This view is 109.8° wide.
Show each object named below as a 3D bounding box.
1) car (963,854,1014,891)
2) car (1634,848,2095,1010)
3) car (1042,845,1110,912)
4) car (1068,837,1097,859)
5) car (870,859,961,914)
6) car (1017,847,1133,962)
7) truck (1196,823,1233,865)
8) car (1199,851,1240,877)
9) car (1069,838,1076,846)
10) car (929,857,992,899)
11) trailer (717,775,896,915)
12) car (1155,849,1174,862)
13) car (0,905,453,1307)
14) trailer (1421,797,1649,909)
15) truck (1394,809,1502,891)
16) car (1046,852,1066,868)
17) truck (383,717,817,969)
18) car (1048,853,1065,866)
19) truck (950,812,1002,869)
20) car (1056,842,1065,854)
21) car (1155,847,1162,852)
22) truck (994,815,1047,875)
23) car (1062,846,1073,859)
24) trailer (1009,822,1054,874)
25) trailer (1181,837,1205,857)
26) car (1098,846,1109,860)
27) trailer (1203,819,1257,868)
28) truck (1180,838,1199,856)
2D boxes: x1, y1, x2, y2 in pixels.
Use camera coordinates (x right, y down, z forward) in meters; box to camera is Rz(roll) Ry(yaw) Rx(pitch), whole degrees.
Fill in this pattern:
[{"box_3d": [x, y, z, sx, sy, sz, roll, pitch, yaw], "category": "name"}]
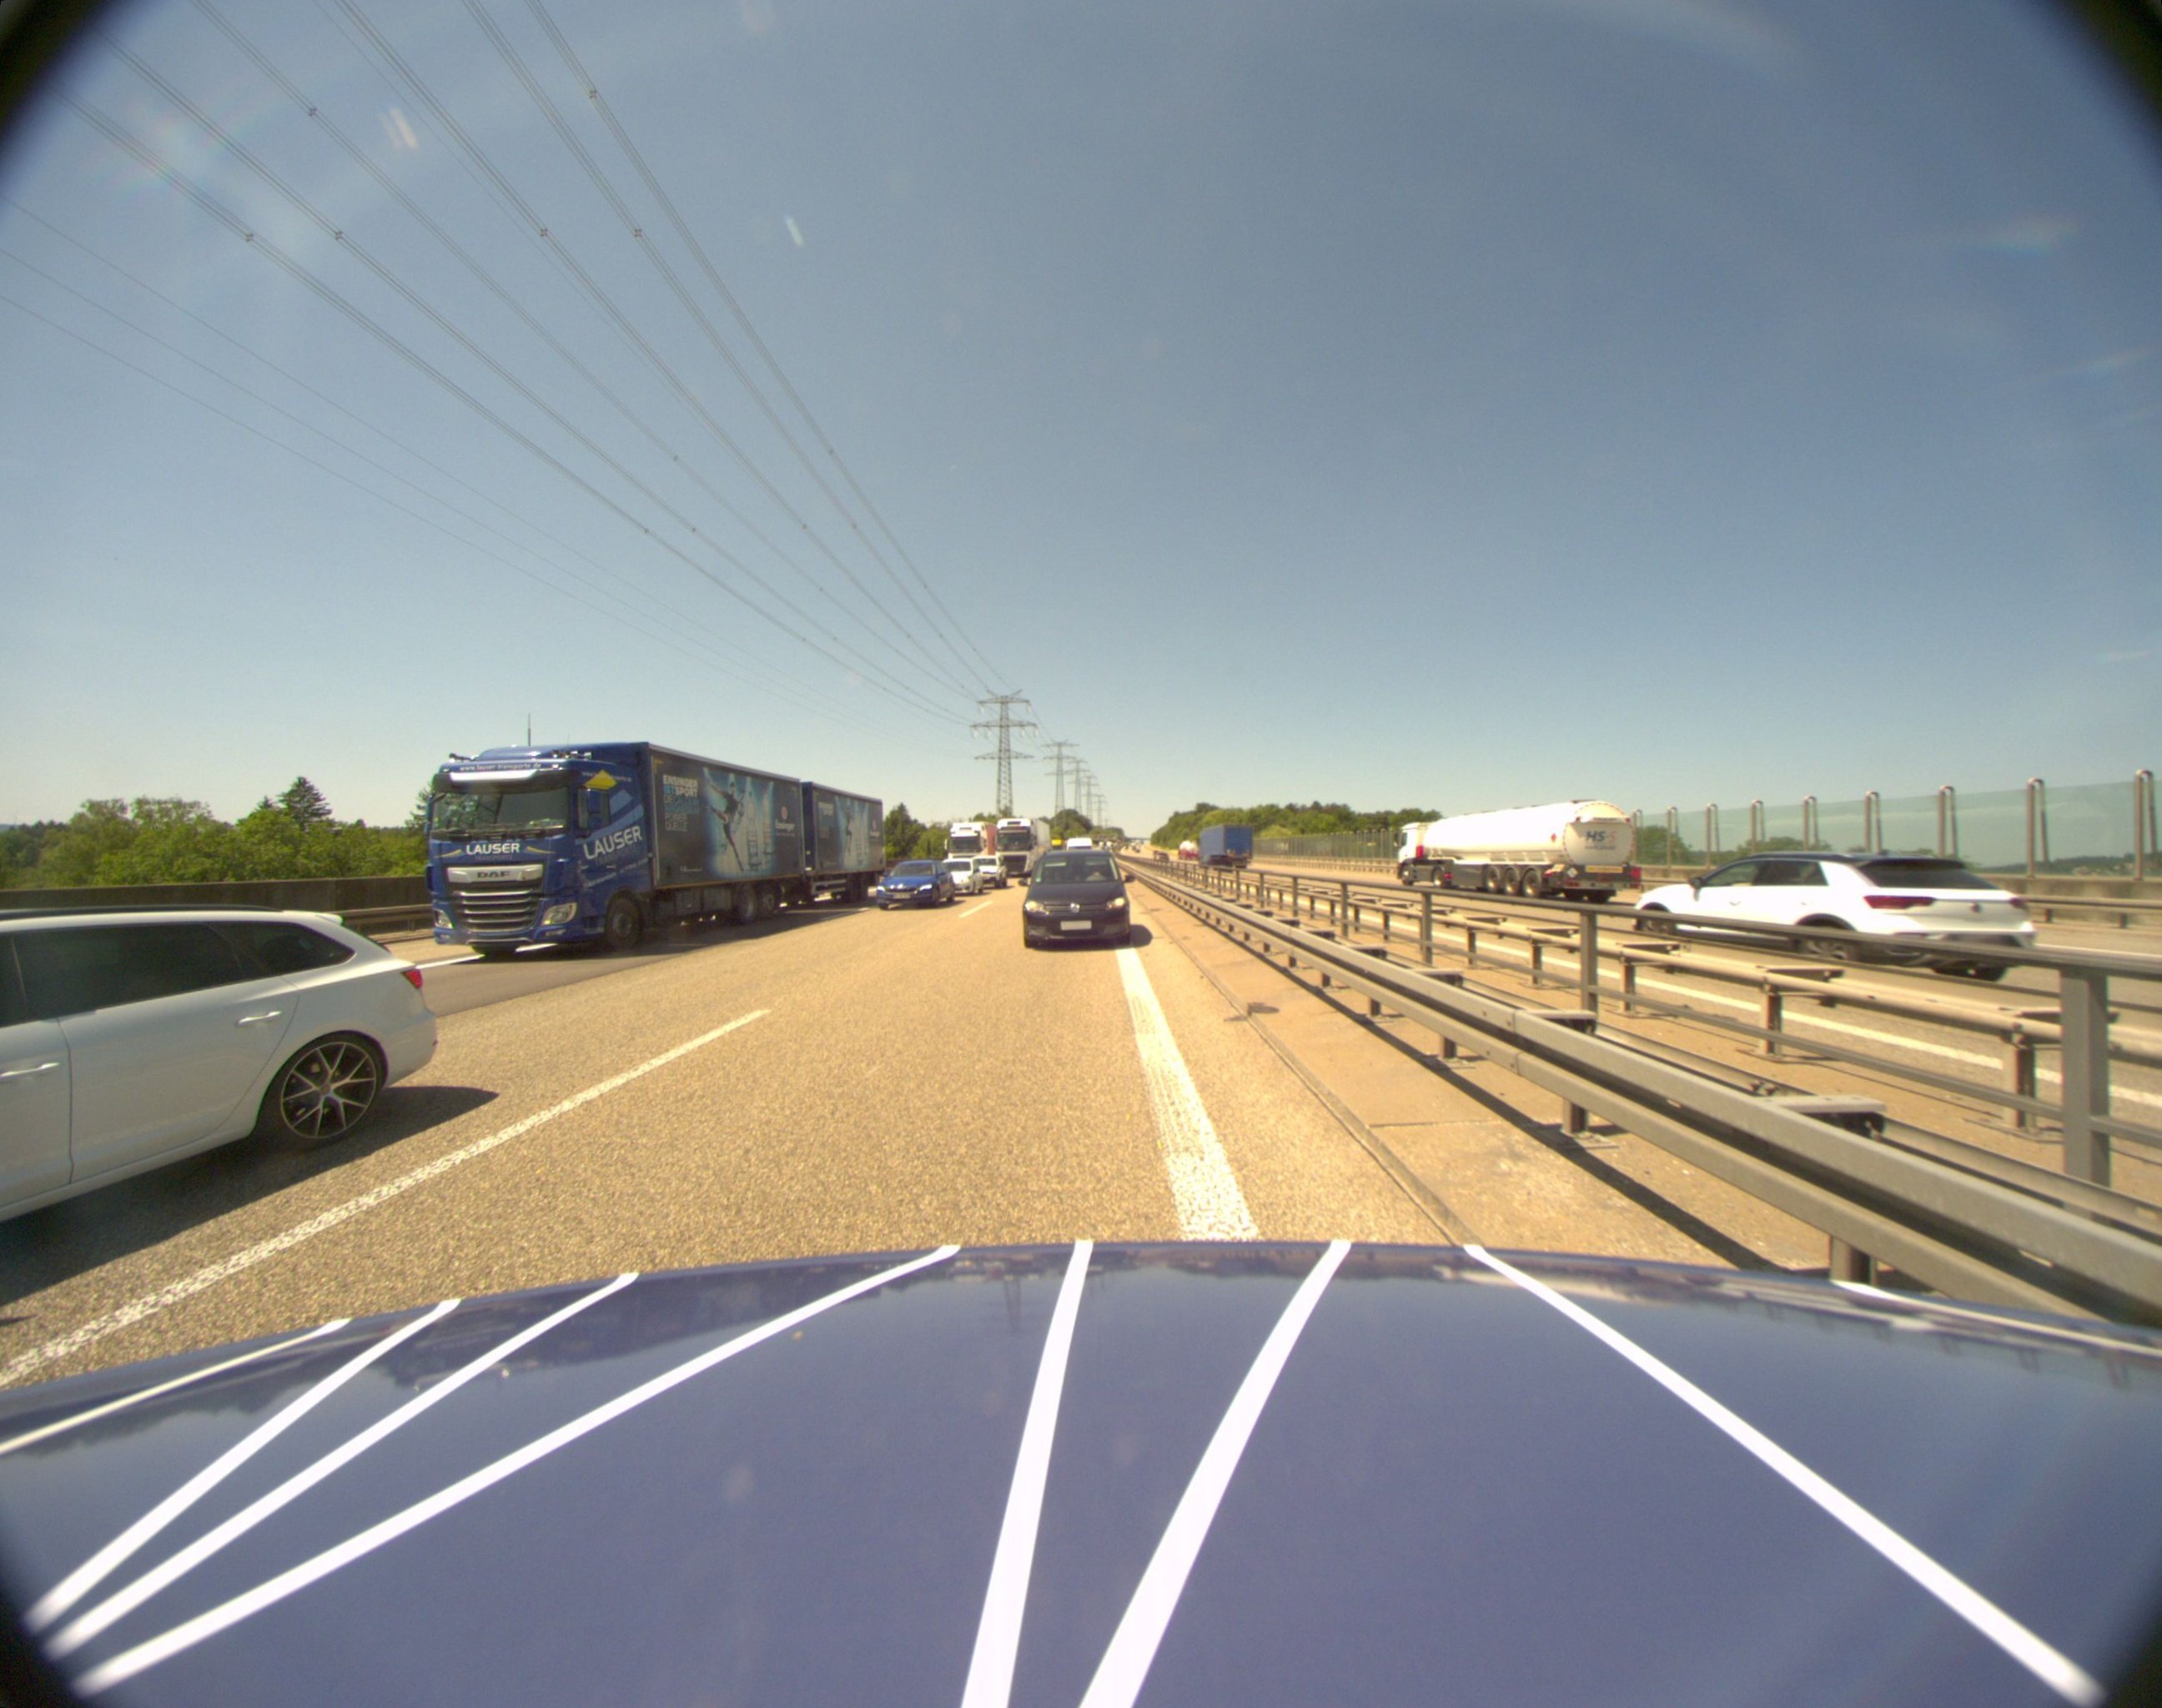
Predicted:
[{"box_3d": [-4.284, 0.810, 35.794, 1.712, 1.501, 4.144, -2, 1, 2], "category": "car"}, {"box_3d": [9.597, 0.771, 9.893, 1.811, 1.630, 3.999, 1, 1, 0], "category": "car"}, {"box_3d": [-0.101, 0.618, 21.652, 1.712, 1.669, 3.931, -2, 1, 1], "category": "car"}, {"box_3d": [0.124, -0.459, 54.859, 1.924, 1.501, 3.996, -2, 1, 2], "category": "car"}, {"box_3d": [-5.128, 0.950, 24.211, 1.712, 1.443, 4.563, -2, 1, 2], "category": "car"}, {"box_3d": [-0.063, 0.762, 13.601, 1.712, 1.669, 3.931, -2, 1, 1], "category": "car"}, {"box_3d": [13.582, -1.049, 77.497, 2.760, 4.093, 6.264, 0, 1, 1], "category": "truck"}, {"box_3d": [9.102, 0.601, 50.324, 1.886, 1.543, 4.189, -2, 1, 0], "category": "car"}, {"box_3d": [-2.283, -3.141, 200.394, 1.704, 2.116, 4.000, 2, 1, 1], "category": "car"}, {"box_3d": [-4.759, 0.903, 30.643, 1.712, 1.443, 4.144, -2, 1, 2], "category": "car"}, {"box_3d": [-9.208, -0.320, 26.923, 2.835, 4.066, 8.637, -2, 1, 2], "category": "trailer"}, {"box_3d": [10.748, 0.134, 98.000, 1.886, 1.543, 4.189, -2, 1, 0], "category": "car"}, {"box_3d": [-5.143, 1.097, 2.904, 1.713, 1.443, 4.429, -2, 0, 1], "category": "car"}, {"box_3d": [16.777, -0.121, 29.463, 2.505, 3.520, 10.902, 0, 1, 1], "category": "trailer"}, {"box_3d": [16.956, -0.213, 35.505, 2.526, 3.515, 5.329, 0, 1, 2], "category": "truck"}, {"box_3d": [-2.687, 0.643, 82.632, 1.924, 1.501, 3.996, -2, 1, 2], "category": "car"}, {"box_3d": [-9.505, -0.248, 17.365, 2.859, 3.927, 10.393, -2, 1, 2], "category": "truck"}, {"box_3d": [-3.164, 0.720, 98.632, 1.924, 1.501, 3.996, -2, 1, 2], "category": "car"}, {"box_3d": [-7.869, -1.032, 58.016, 2.608, 3.965, 8.263, -2, 1, 1], "category": "truck"}, {"box_3d": [-4.332, -1.326, 163.517, 1.704, 2.525, 4.000, 2, 1, 1], "category": "car"}, {"box_3d": [24.485, -1.367, 239.487, 1.786, 1.412, 4.000, 2, 1, 1], "category": "car"}, {"box_3d": [-4.088, -0.644, 53.141, 2.849, 3.804, 8.263, -2, 1, 1], "category": "truck"}, {"box_3d": [-2.307, -0.286, 128.548, 1.704, 2.116, 4.000, 2, 1, 1], "category": "car"}, {"box_3d": [-3.855, -0.525, 61.851, 2.822, 3.830, 9.084, -2, 1, 1], "category": "trailer"}, {"box_3d": [20.174, -1.302, 137.668, 2.883, 3.360, 12.006, 1, 1, 2], "category": "trailer"}, {"box_3d": [3.572, -0.154, 121.075, 1.704, 2.116, 4.000, -2, 1, 2], "category": "car"}, {"box_3d": [13.571, -0.951, 70.343, 2.711, 4.141, 12.048, 0, 1, 0], "category": "trailer"}, {"box_3d": [20.410, -1.386, 143.543, 2.915, 3.395, 6.294, 1, 1, 2], "category": "truck"}]
